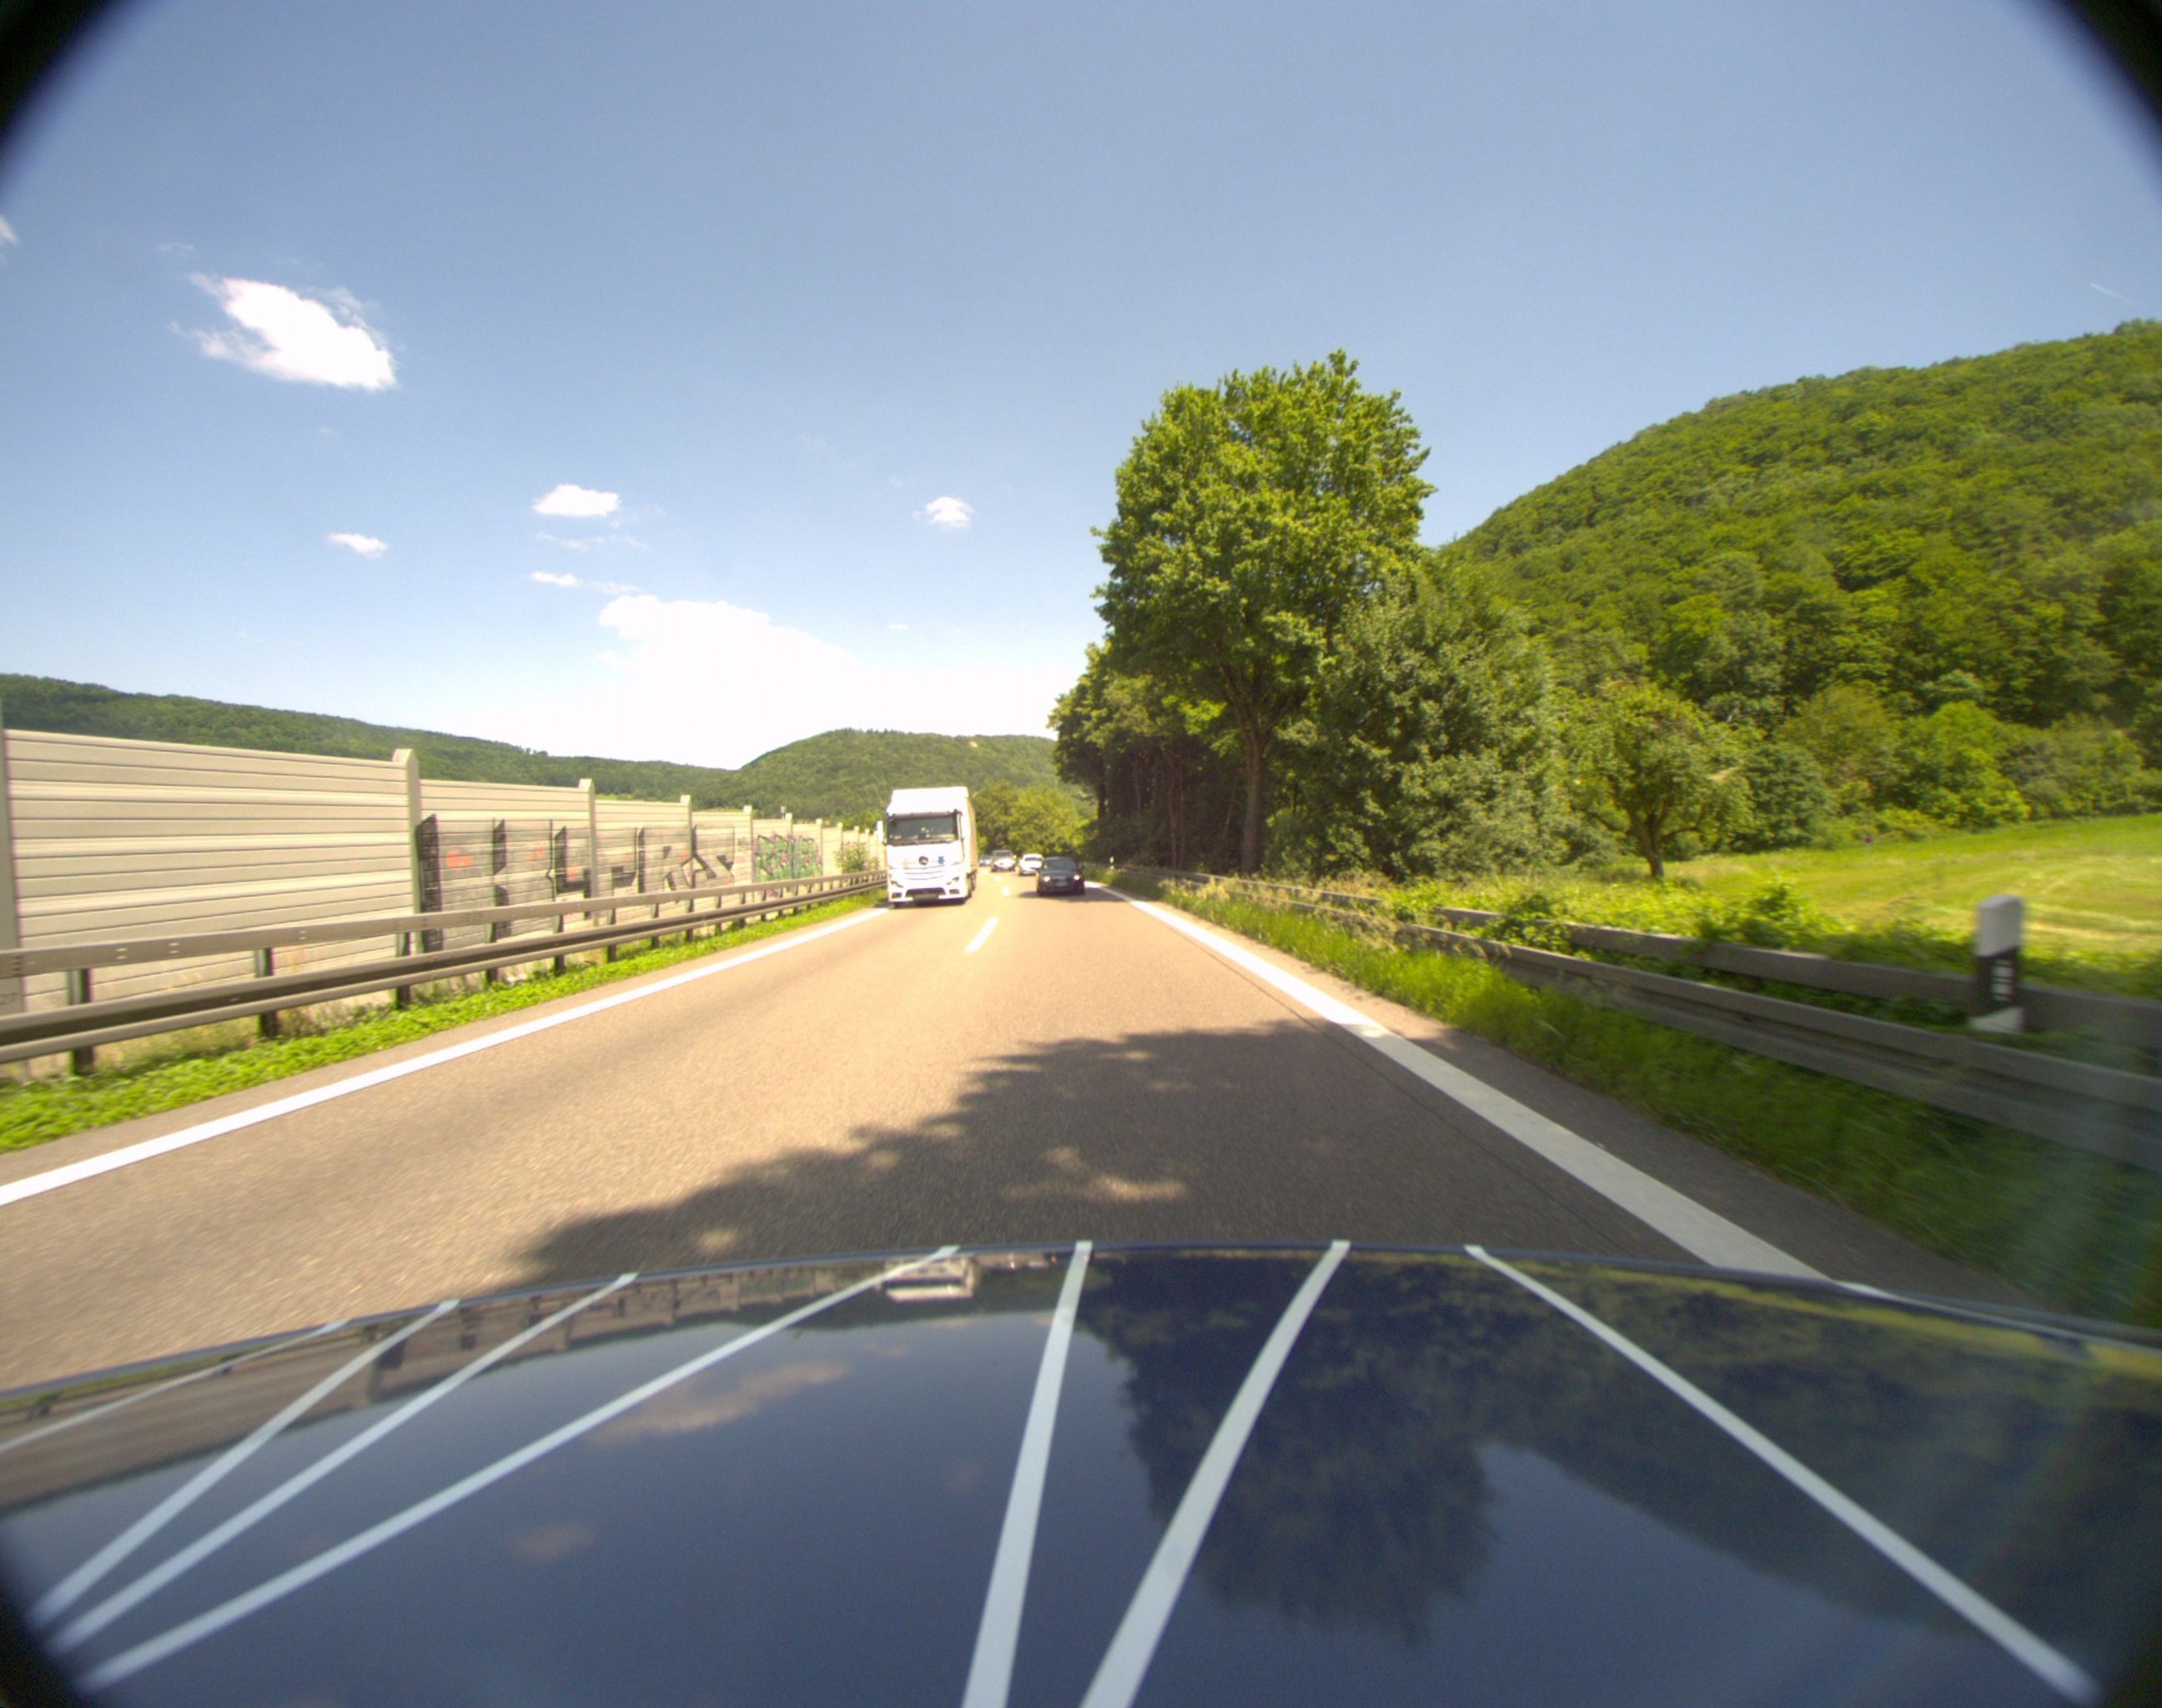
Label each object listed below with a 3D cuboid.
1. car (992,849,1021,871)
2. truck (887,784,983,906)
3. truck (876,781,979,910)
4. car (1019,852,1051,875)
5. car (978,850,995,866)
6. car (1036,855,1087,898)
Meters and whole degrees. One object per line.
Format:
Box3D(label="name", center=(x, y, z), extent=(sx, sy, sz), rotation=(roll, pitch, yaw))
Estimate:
Box3D(label="car", center=(-6.697, 0.526, 68.357), extent=(2.046, 1.855, 3.996), rotation=(-1, 0, -14))
Box3D(label="truck", center=(-5.885, -0.319, 32.605), extent=(2.863, 4.123, 12.040), rotation=(-3, 0, -6))
Box3D(label="truck", center=(-5.346, -0.286, 27.623), extent=(2.765, 4.015, 6.819), rotation=(-2, 1, -5))
Box3D(label="car", center=(-3.310, 0.649, 54.032), extent=(1.717, 1.541, 3.995), rotation=(0, 1, -13))
Box3D(label="car", center=(-12.323, 0.458, 98.518), extent=(2.000, 2.002, 3.996), rotation=(-1, 0, -9))
Box3D(label="car", center=(-0.790, 0.814, 28.675), extent=(1.663, 1.435, 3.473), rotation=(-3, 0, -5))
